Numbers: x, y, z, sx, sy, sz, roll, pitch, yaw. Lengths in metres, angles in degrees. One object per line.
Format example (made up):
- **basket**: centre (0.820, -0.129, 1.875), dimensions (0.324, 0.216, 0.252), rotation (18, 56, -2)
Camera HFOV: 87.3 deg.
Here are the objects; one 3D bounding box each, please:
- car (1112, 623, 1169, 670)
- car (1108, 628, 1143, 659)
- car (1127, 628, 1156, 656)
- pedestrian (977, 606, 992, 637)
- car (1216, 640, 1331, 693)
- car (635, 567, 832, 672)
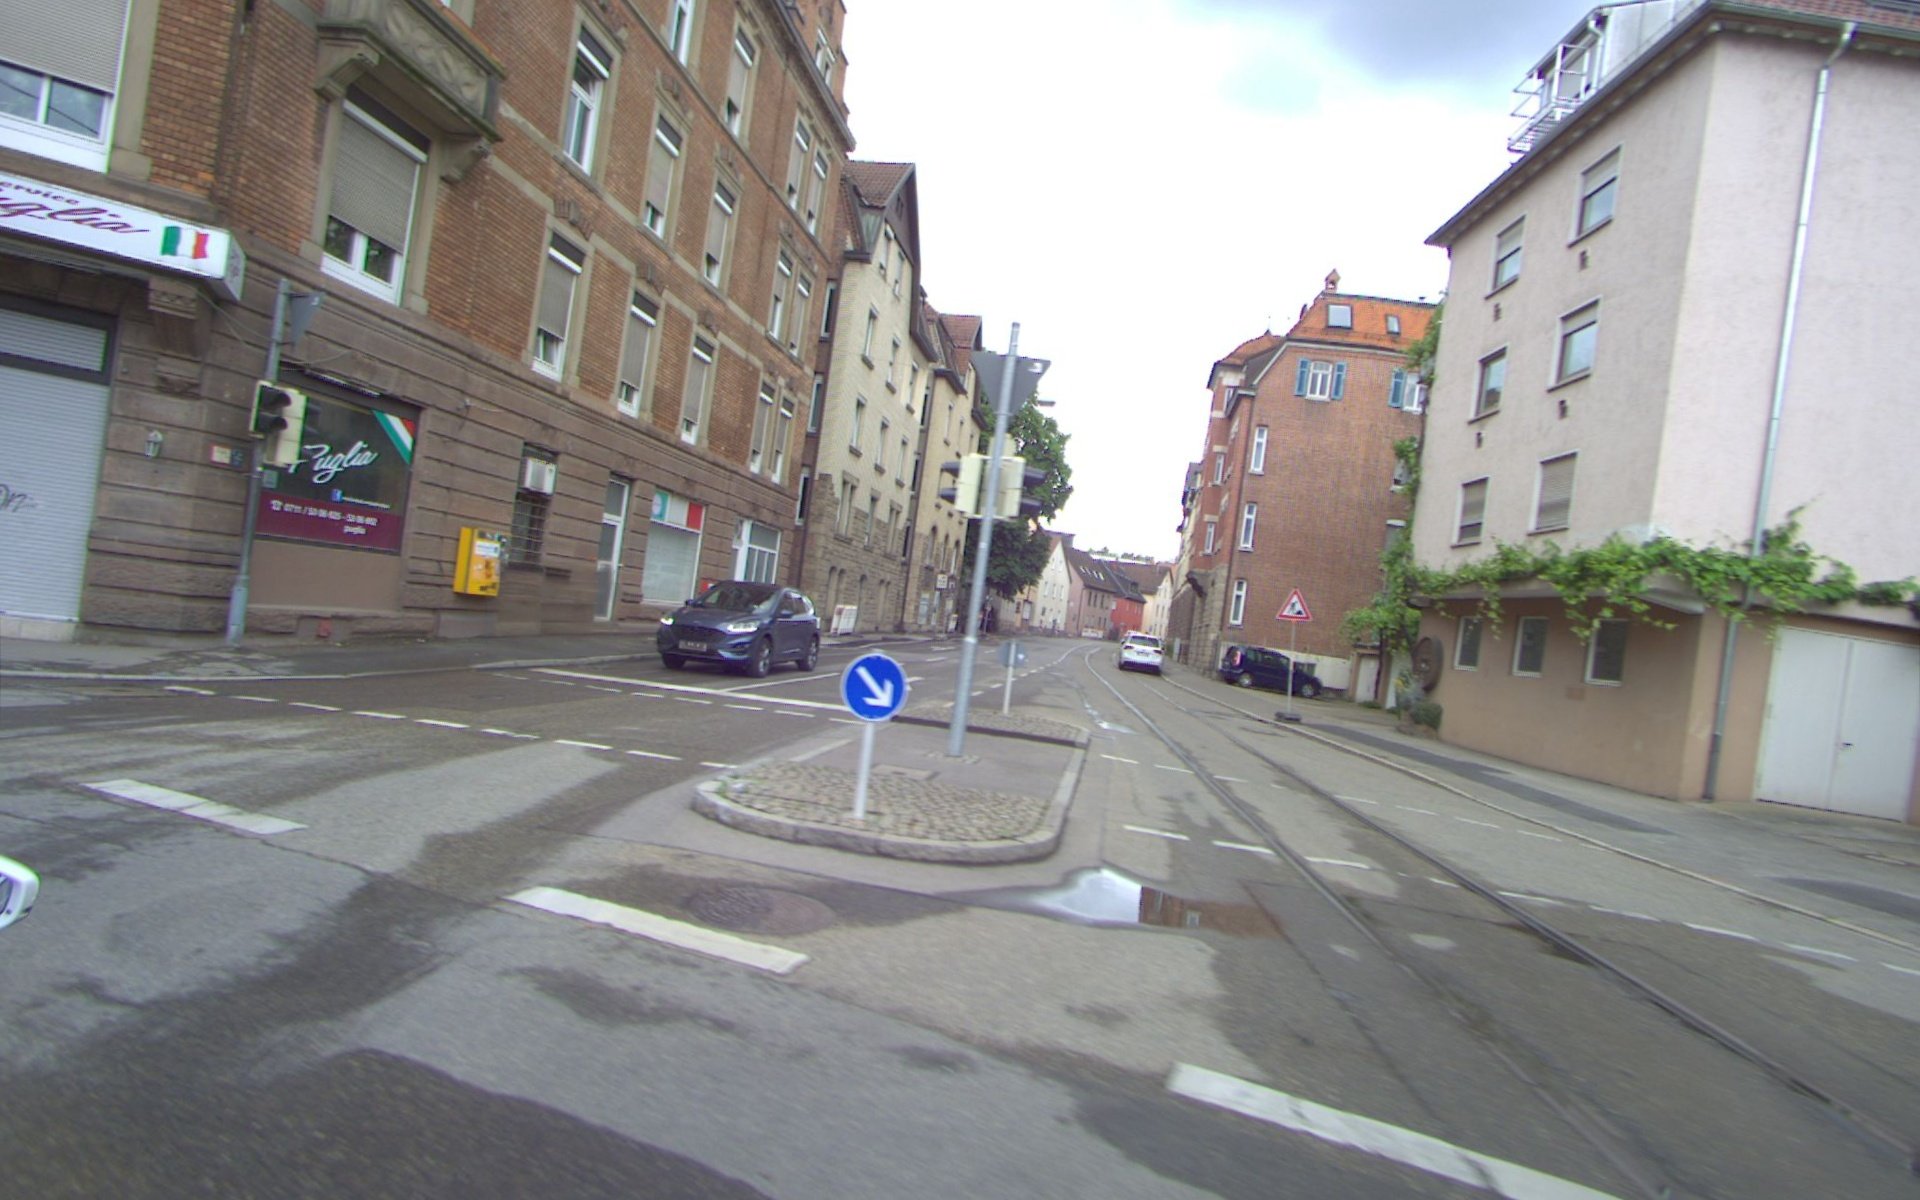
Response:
- **car**: centre (7.869, 1.994, 44.157), dimensions (1.918, 1.739, 4.002), rotation (6, -1, 5)
- **car**: centre (10.856, 2.839, 65.849), dimensions (1.932, 1.684, 3.822), rotation (9, 0, 11)
- **car**: centre (13.905, 3.183, 76.887), dimensions (1.962, 1.860, 4.003), rotation (6, -1, 11)
- **pedestrian**: centre (1.708, 1.453, 68.836), dimensions (0.752, 2.038, 0.754), rotation (6, 0, 7)
- **car**: centre (12.430, 2.631, 40.026), dimensions (3.852, 1.571, 1.871), rotation (7, 0, -2)
- **car**: centre (-4.033, 0.385, 18.757), dimensions (1.962, 1.533, 4.288), rotation (6, -1, 10)
